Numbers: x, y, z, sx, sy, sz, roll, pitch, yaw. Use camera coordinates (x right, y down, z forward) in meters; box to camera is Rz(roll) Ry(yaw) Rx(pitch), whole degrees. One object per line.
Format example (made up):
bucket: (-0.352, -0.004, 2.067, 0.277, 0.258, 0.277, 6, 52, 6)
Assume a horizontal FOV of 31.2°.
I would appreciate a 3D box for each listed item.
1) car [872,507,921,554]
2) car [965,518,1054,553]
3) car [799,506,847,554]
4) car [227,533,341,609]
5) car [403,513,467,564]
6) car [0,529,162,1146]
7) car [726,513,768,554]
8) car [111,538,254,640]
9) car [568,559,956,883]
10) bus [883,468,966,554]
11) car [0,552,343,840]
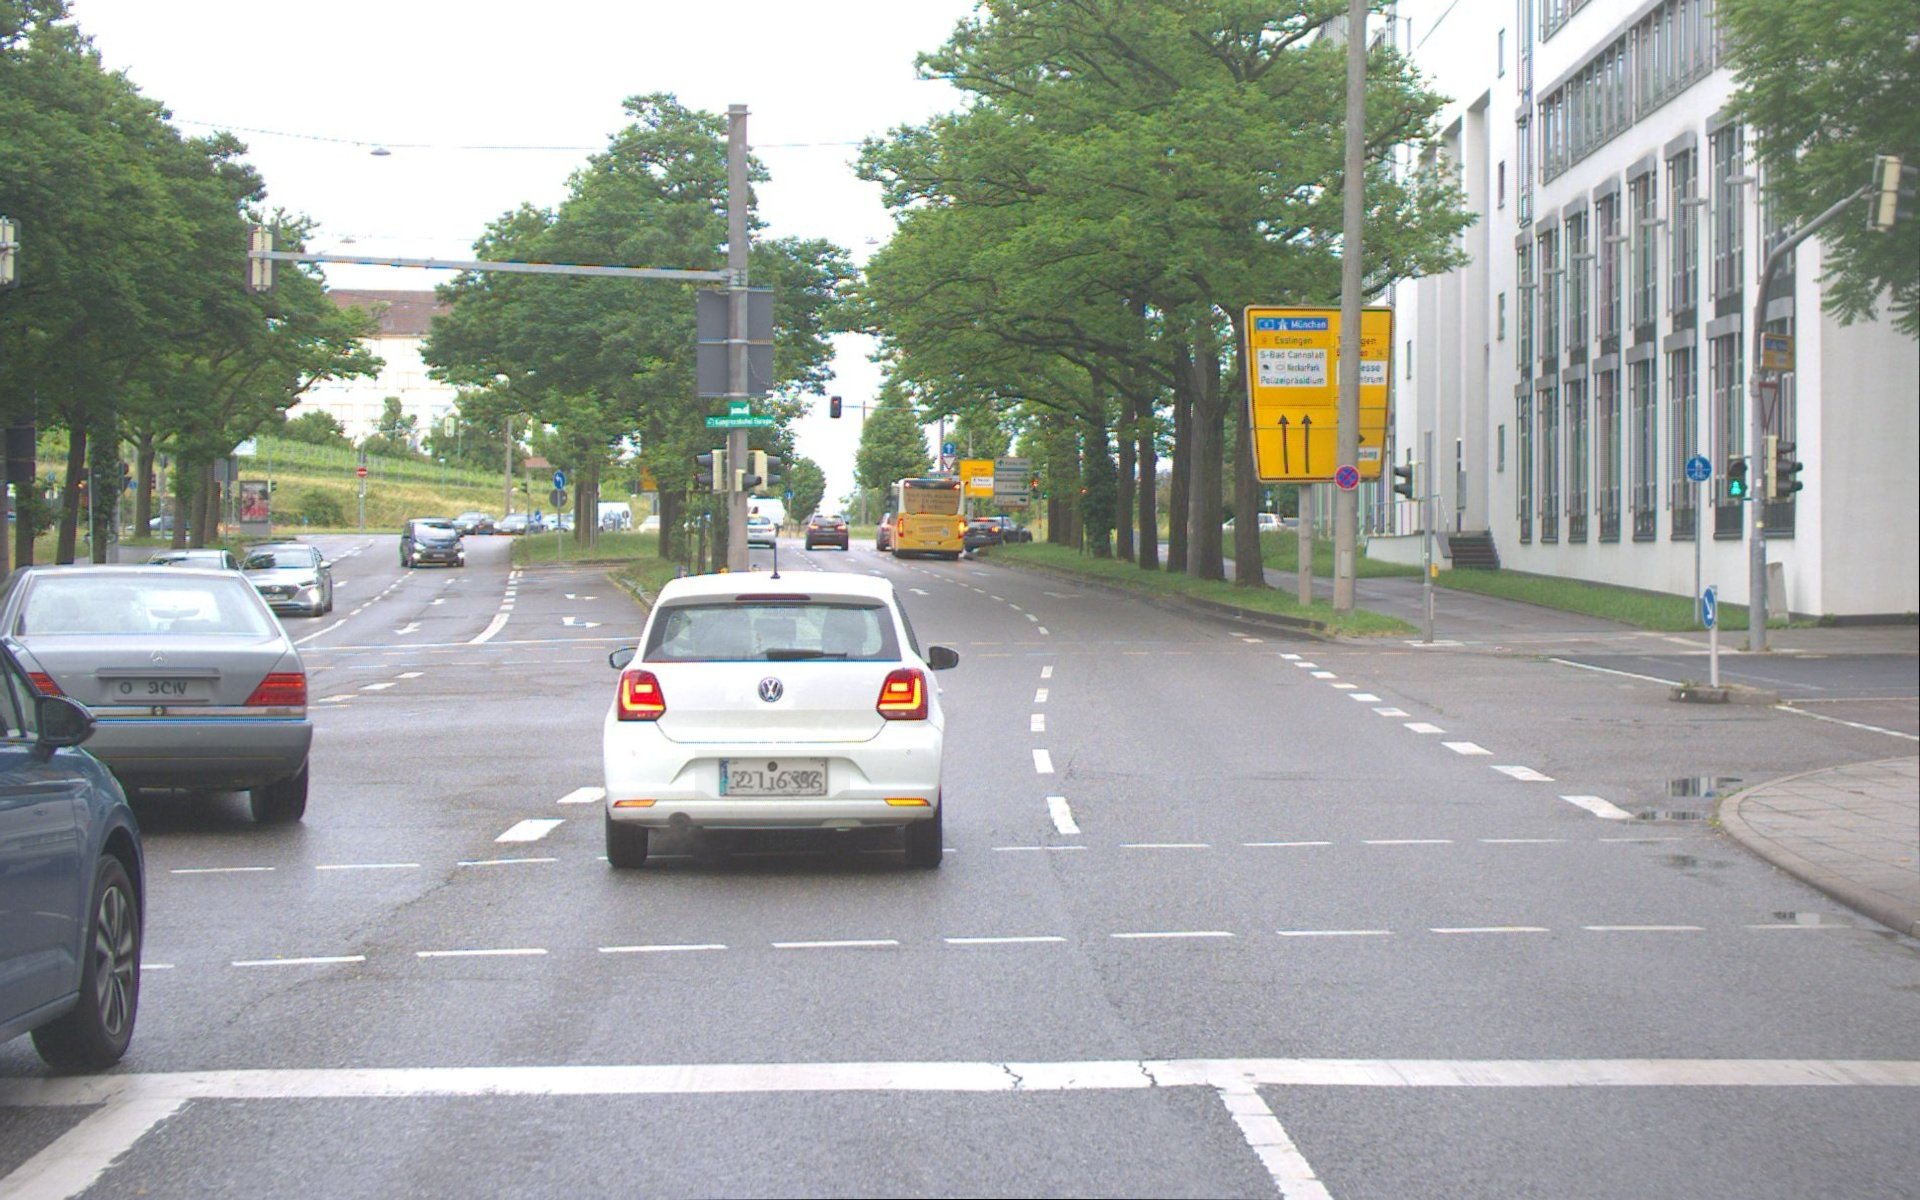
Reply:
car: (-2.747, -2.990, 148.750, 1.993, 2.007, 4.001, 0, 1, -3)
car: (2.128, -2.760, 147.468, 1.699, 1.510, 3.818, 0, 1, 42)
car: (-5.884, -2.995, 147.439, 1.993, 2.007, 4.001, 0, 1, -3)
car: (-13.846, -0.625, 70.638, 1.814, 1.406, 4.657, -2, 2, -5)
car: (-18.198, -2.155, 119.330, 1.993, 1.610, 5.122, -2, 2, -7)
car: (-3.371, 0.627, 8.554, 1.772, 1.591, 4.197, -1, 1, 0)
car: (-9.219, -2.883, 149.010, 1.794, 1.735, 4.001, 0, 1, -4)
car: (-12.398, -0.205, 55.004, 1.750, 1.515, 3.818, -1, 2, -6)
car: (-0.983, 0.545, 18.059, 1.794, 1.497, 4.000, 1, 1, -2)
bus: (-1.455, -3.527, 135.187, 2.828, 3.255, 10.002, 1, 2, -3)
car: (-4.945, 0.494, 20.481, 1.846, 1.505, 4.049, -1, 1, -19)
